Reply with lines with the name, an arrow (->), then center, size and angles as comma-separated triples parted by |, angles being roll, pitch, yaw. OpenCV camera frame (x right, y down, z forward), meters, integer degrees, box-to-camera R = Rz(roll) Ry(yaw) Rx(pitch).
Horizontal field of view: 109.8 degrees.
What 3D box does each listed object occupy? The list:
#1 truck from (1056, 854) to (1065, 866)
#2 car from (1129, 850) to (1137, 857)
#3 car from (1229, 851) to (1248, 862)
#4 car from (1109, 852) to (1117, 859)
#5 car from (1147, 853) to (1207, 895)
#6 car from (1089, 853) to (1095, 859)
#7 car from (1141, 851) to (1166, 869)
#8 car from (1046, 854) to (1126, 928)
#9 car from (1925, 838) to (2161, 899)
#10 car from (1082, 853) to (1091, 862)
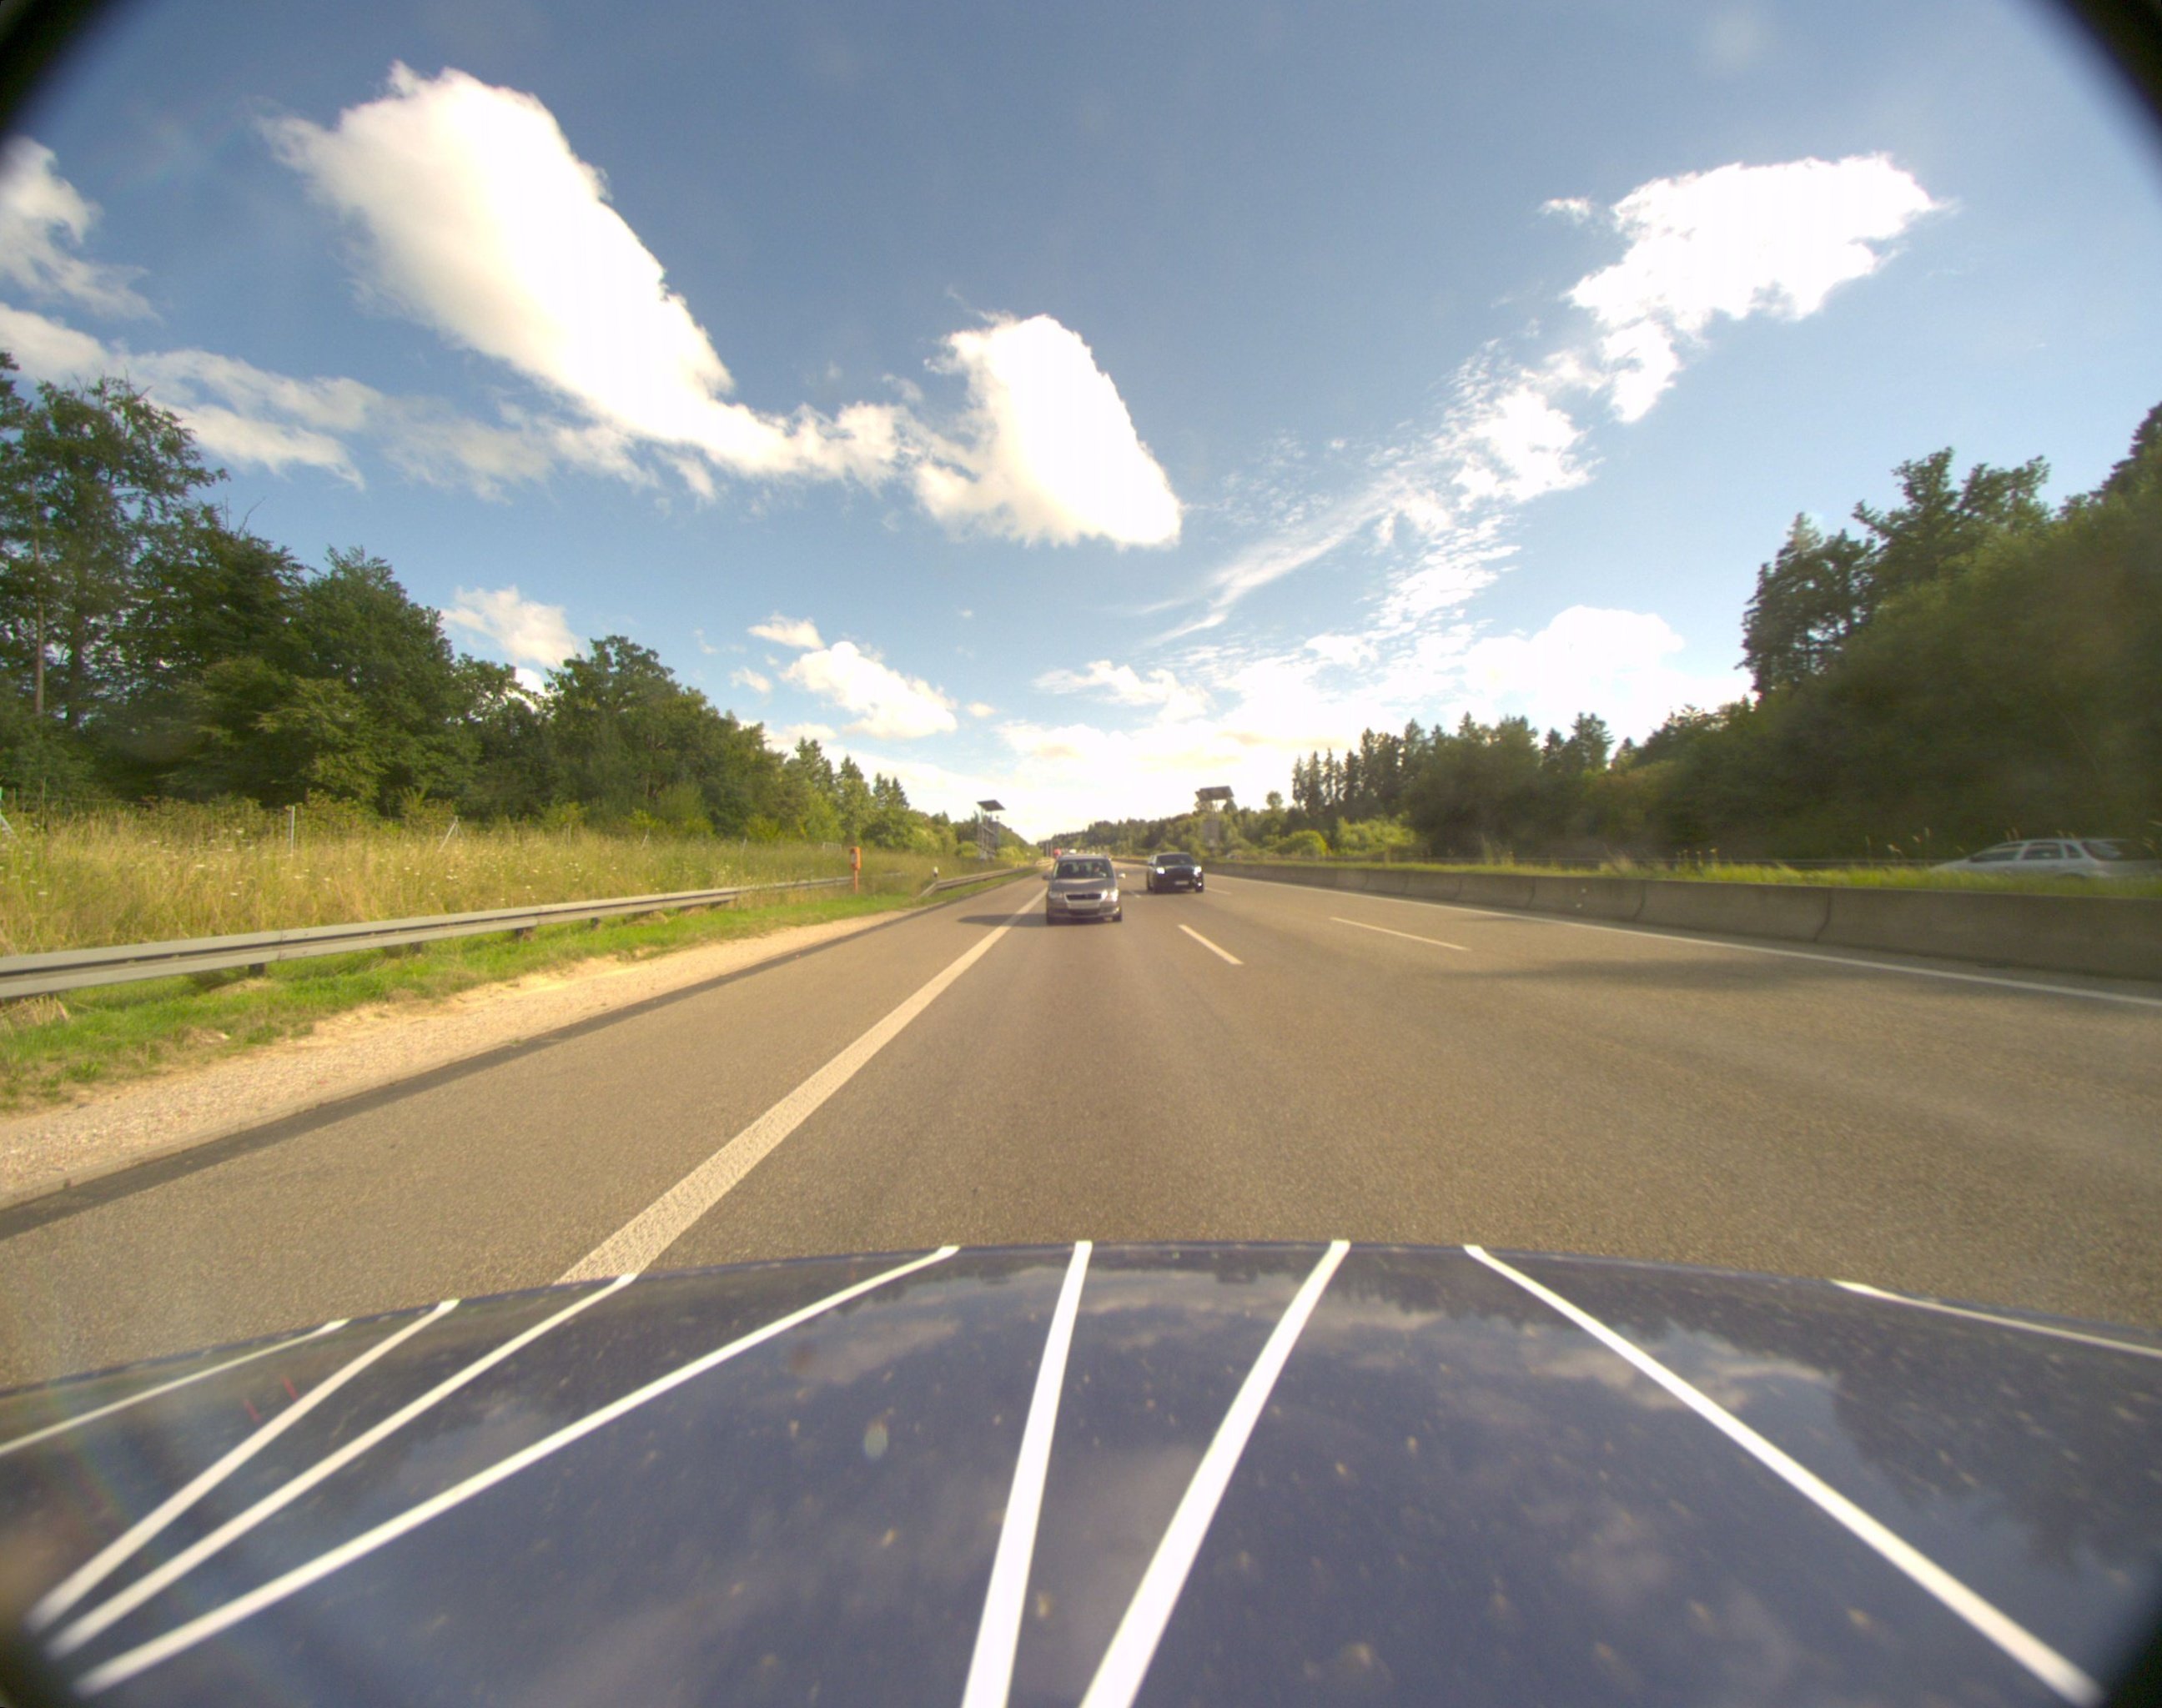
truck -> -7.072, 2.013, 264.536 | 2.880, 3.871, 8.958 | -2, 0, 0
car -> 15.530, -0.041, 228.507 | 1.999, 2.002, 4.071 | -2, 0, 0
car -> 23.958, 0.389, 115.991 | 1.884, 1.618, 4.570 | -2, 0, 0
car -> 8.445, 0.282, 203.472 | 1.998, 1.772, 4.000 | -2, 0, 1
car -> 3.926, 0.774, 31.745 | 1.961, 1.608, 4.387 | -2, 0, 1
car -> 3.296, 0.585, 226.912 | 1.943, 1.772, 4.158 | -2, 0, 1
car -> 6.677, 0.539, 70.571 | 1.961, 1.608, 4.387 | -2, 0, 1
car -> 0.142, 0.839, 19.110 | 1.742, 1.608, 4.083 | -2, 0, 1
car -> 23.155, 0.316, 18.265 | 1.821, 1.282, 3.544 | -2, 0, 1
car -> 1.140, 0.763, 163.478 | 1.938, 1.772, 4.236 | -2, 0, 1
